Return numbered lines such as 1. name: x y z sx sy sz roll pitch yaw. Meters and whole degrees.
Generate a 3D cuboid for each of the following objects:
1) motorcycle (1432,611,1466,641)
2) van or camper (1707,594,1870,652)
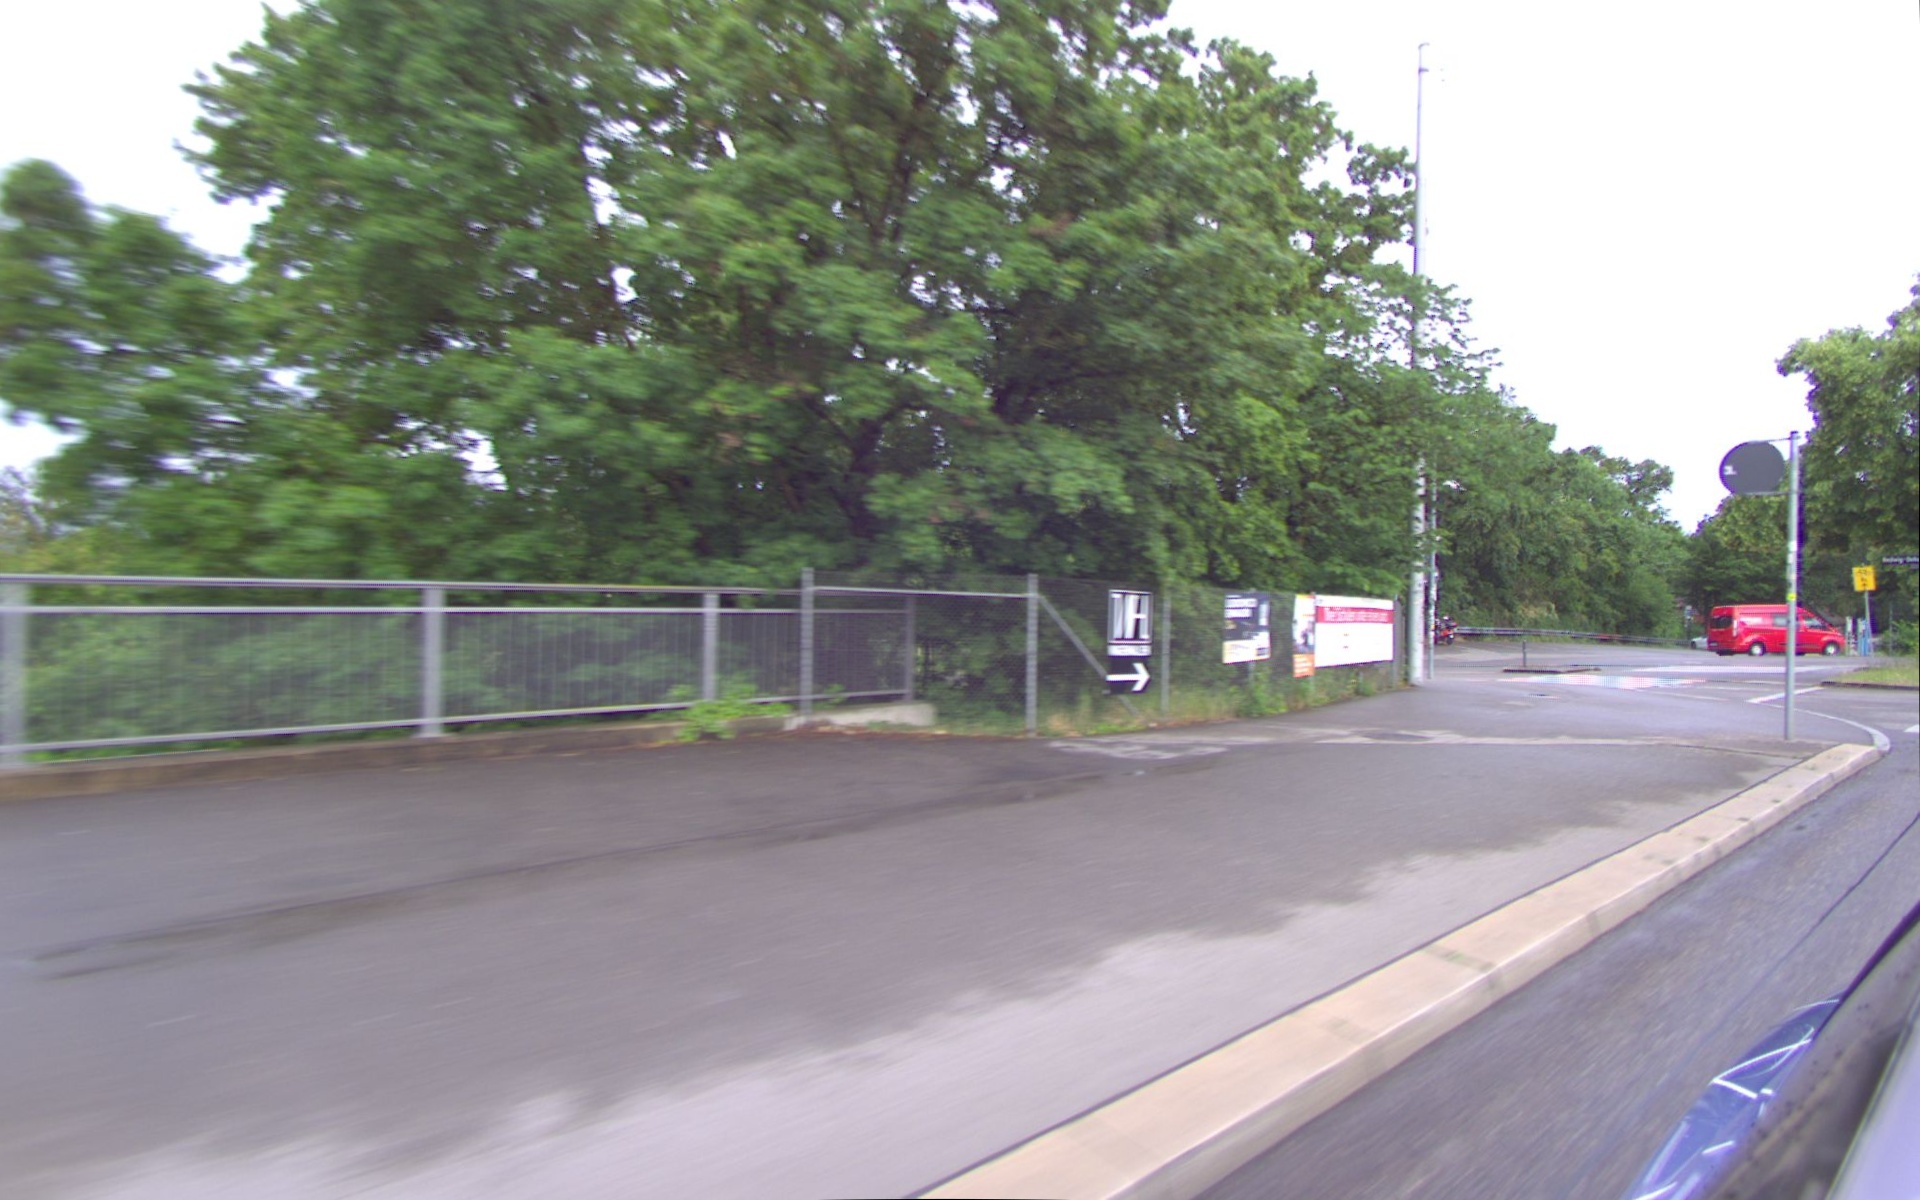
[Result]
1. motorcycle: 22.852 1.217 47.325 0.464 1.228 2.026 -3 2 -3
2. van or camper: 36.830 1.041 45.104 5.292 2.438 2.039 -1 -4 2
